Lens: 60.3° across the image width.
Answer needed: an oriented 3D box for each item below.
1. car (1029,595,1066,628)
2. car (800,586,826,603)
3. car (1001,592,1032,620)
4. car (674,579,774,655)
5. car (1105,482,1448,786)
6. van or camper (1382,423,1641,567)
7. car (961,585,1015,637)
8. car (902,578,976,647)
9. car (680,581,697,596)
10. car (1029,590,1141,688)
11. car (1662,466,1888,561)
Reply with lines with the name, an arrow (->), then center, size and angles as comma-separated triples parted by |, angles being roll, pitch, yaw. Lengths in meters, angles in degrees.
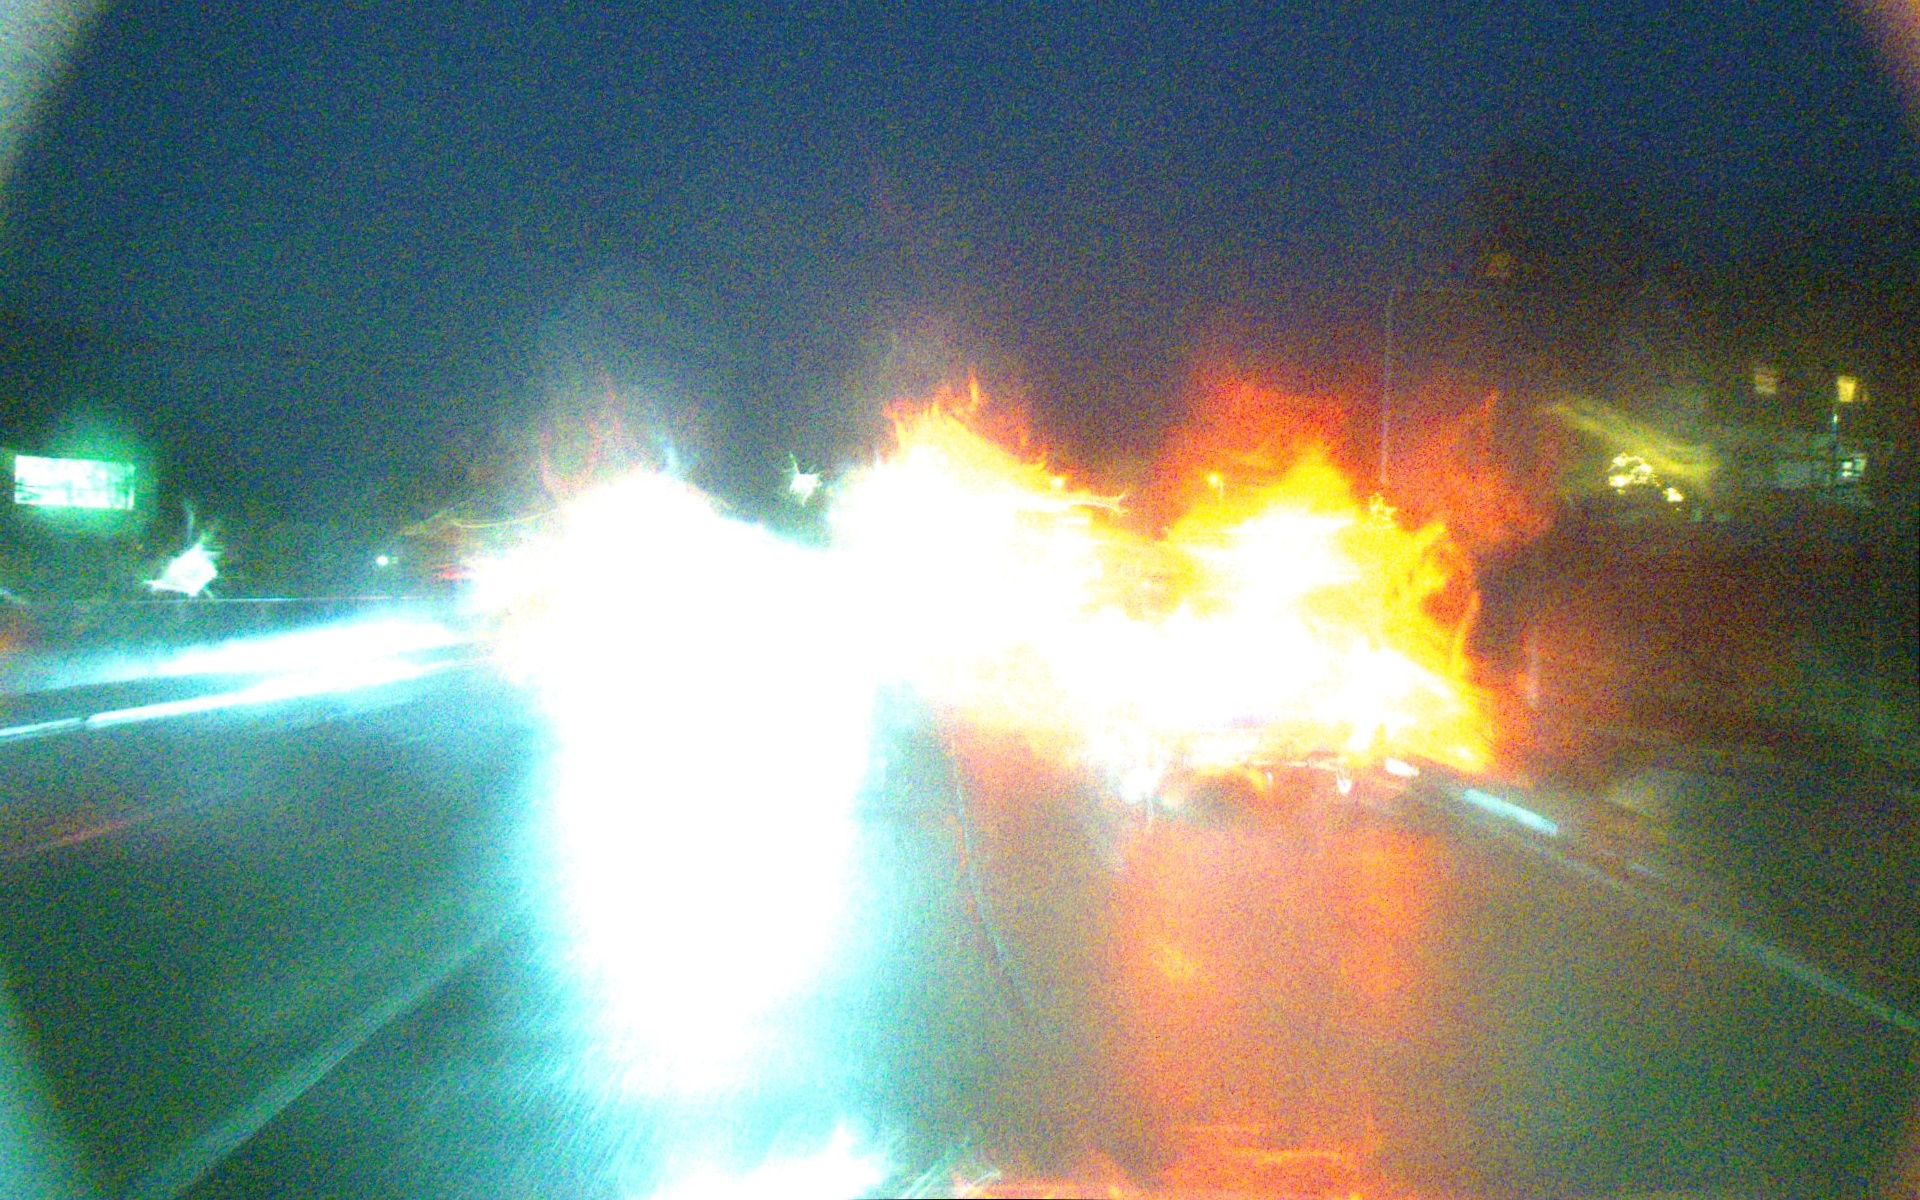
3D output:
car -> 4.107, 0.548, 77.120 | 1.628, 1.475, 4.052 | 0, 0, 5
car -> -13.653, -0.518, 153.647 | 1.682, 1.525, 3.711 | -1, 1, -18
car -> 3.089, 0.327, 90.629 | 1.628, 1.475, 4.051 | 1, 0, 2
car -> -4.895, 0.313, 34.787 | 1.661, 1.459, 4.291 | 1, 1, -3
car -> 2.308, 0.203, 13.194 | 1.902, 2.006, 4.218 | 1, 1, 0
van or camper -> 12.586, -2.291, 38.346 | 2.539, 2.959, 6.329 | 0, 0, -17
car -> 0.976, 0.352, 56.110 | 1.673, 1.666, 3.732 | -1, 1, 3
car -> -0.509, 0.316, 43.164 | 1.659, 1.658, 3.854 | 1, 0, 3
car -> -34.003, -1.446, 206.962 | 1.956, 1.945, 4.734 | 1, 0, -8
car -> 2.044, 0.587, 27.883 | 1.731, 1.475, 4.220 | 1, 1, 3
car -> 15.670, -1.618, 32.047 | 1.609, 1.646, 4.118 | 1, 1, -15
